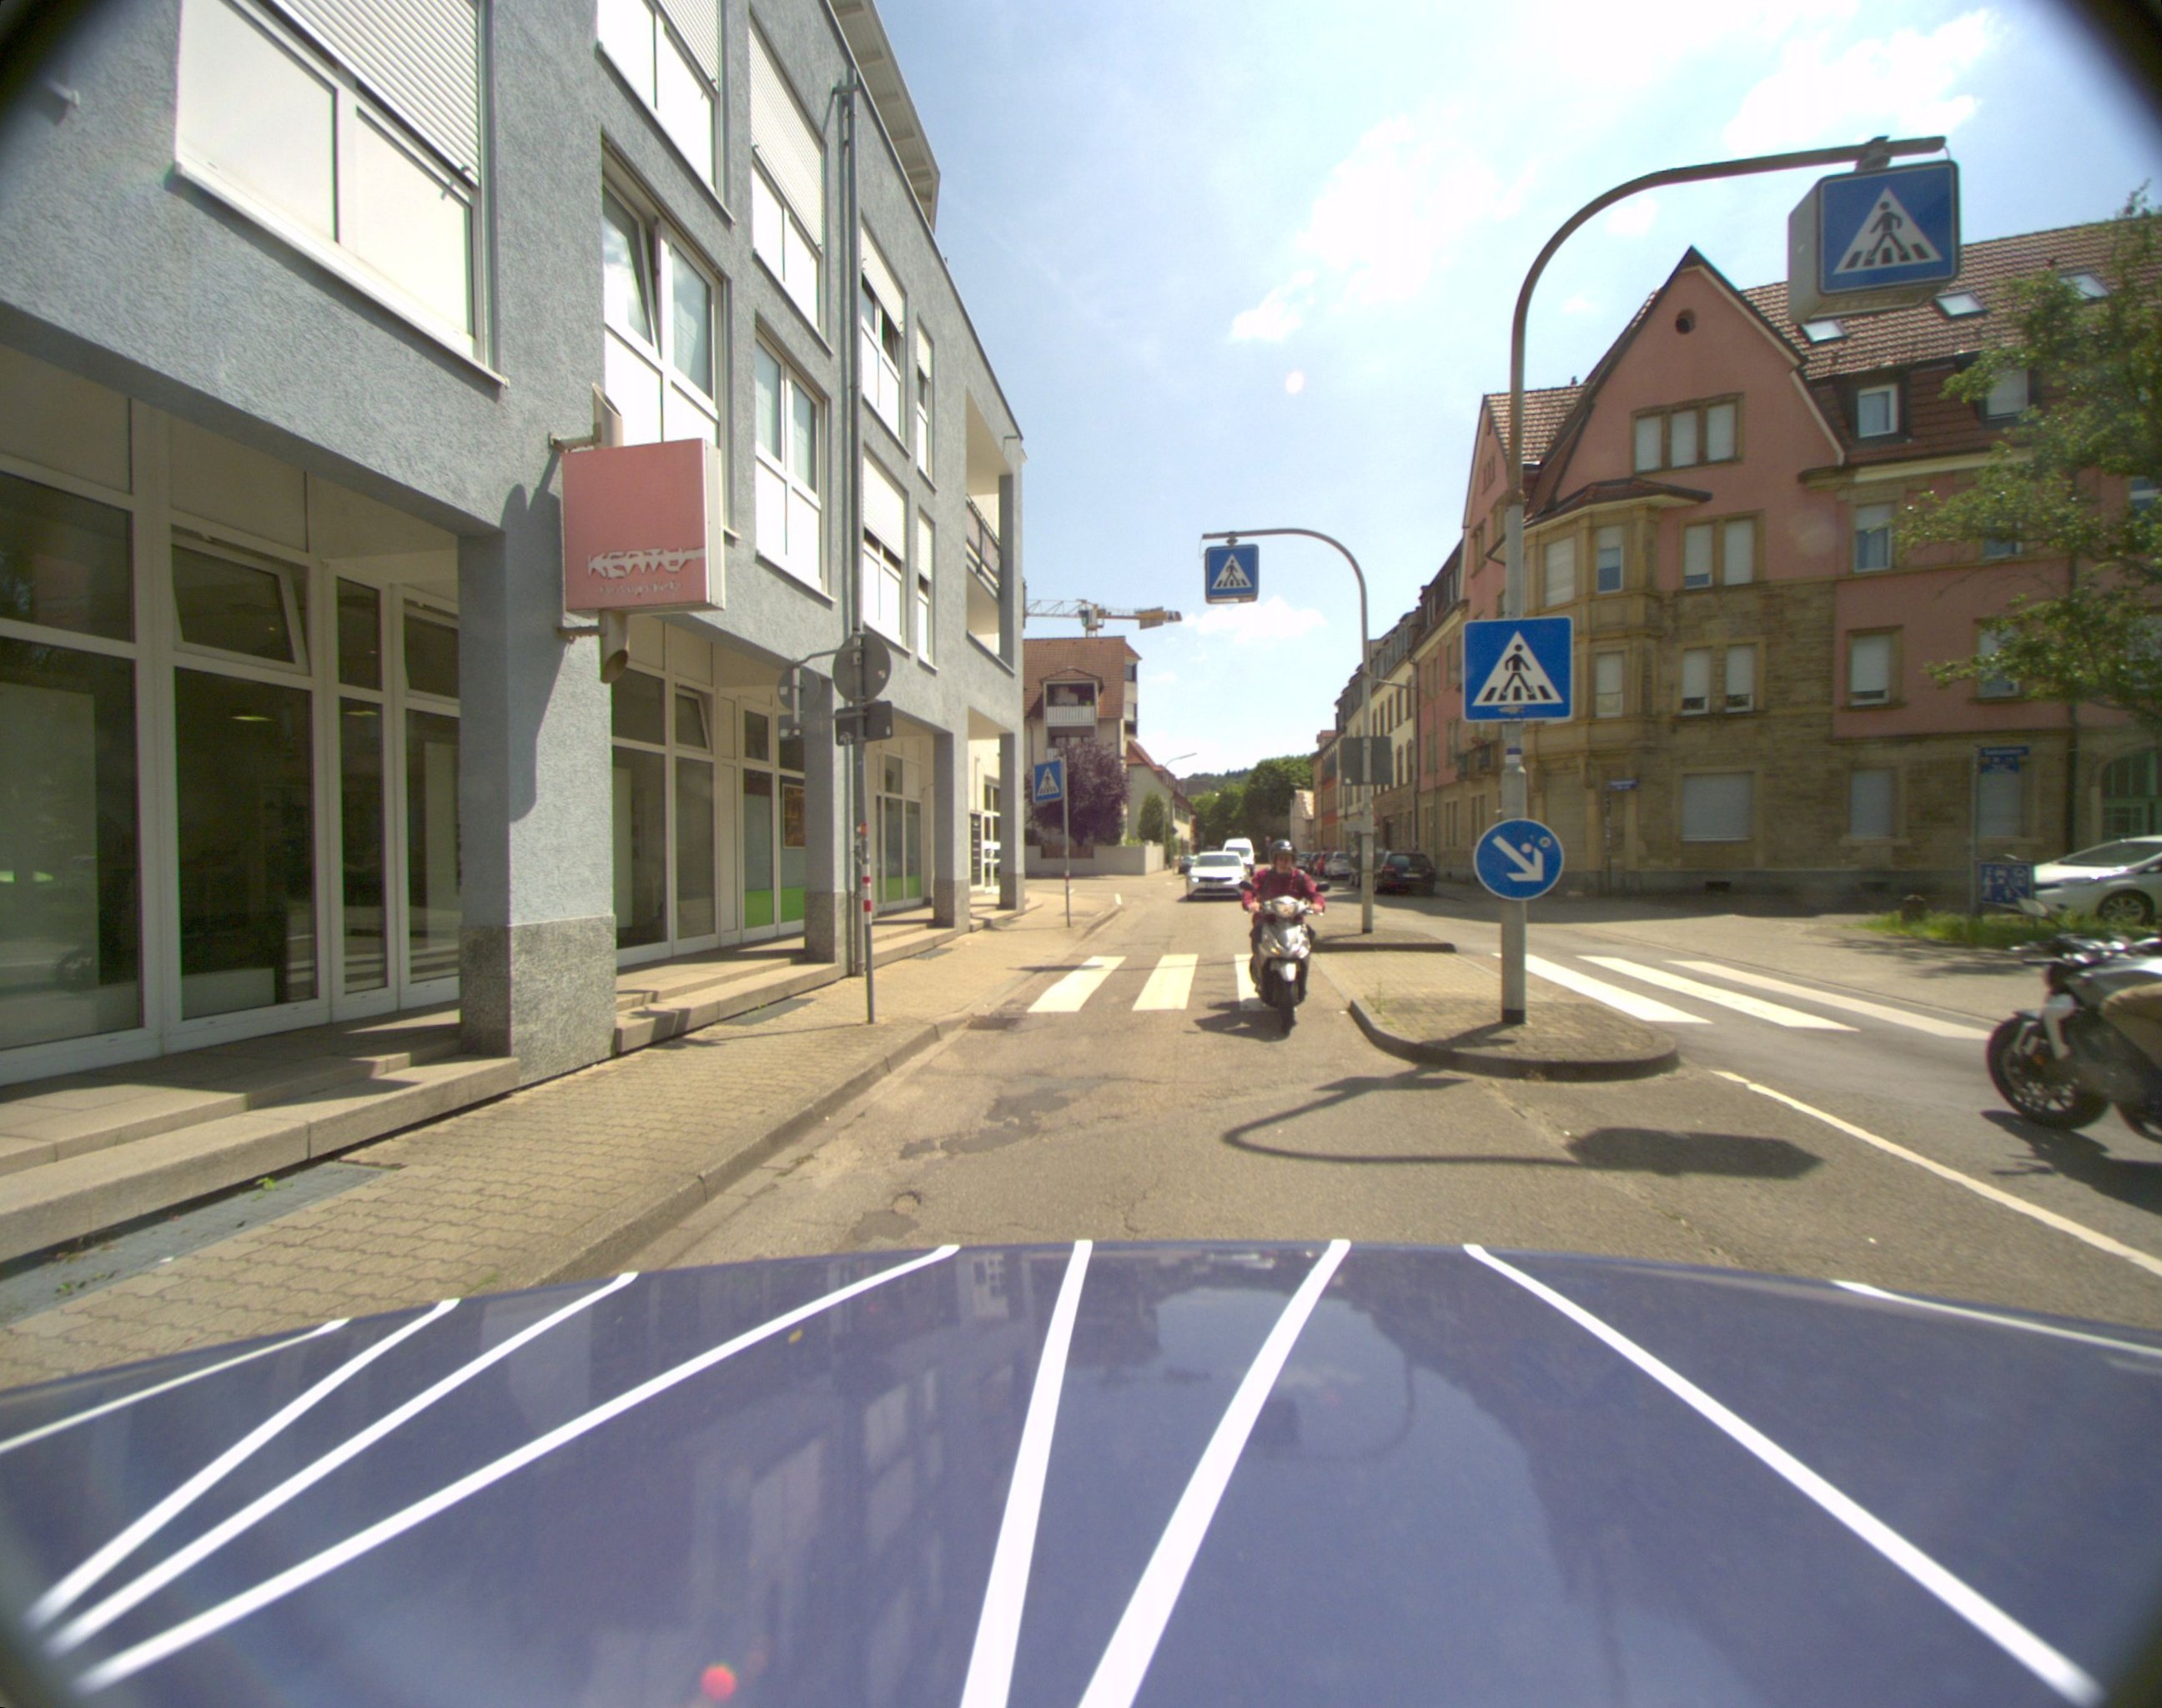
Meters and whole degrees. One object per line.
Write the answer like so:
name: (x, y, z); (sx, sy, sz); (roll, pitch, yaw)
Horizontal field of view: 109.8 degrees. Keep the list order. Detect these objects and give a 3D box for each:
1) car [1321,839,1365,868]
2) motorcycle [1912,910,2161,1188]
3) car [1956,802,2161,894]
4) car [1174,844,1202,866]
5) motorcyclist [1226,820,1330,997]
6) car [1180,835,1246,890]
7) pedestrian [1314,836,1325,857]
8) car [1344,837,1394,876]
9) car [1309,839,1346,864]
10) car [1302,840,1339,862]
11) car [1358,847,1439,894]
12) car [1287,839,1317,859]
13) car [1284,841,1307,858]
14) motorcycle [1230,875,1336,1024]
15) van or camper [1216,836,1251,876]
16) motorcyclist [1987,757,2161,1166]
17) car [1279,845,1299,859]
car: (13.584, -0.055, 39.621); (1.637, 1.423, 4.021); (1, 1, 12)
motorcycle: (4.723, 0.833, 3.066); (0.714, 1.022, 2.241); (0, 1, 14)
car: (18.559, -0.132, 13.220); (3.992, 1.493, 1.871); (-1, 0, 15)
car: (6.935, 0.037, 48.916); (1.659, 1.368, 4.242); (0, 1, 9)
motorcyclist: (1.701, 0.445, 6.697); (0.792, 1.431, 1.021); (-1, 1, 11)
car: (4.116, 0.236, 23.580); (1.810, 1.512, 4.003); (-1, 0, 10)
pedestrian: (20.853, -0.671, 66.504); (0.769, 1.761, 0.764); (-2, 1, 10)
car: (11.557, 0.069, 30.587); (1.439, 1.514, 2.697); (0, 1, 11)
car: (14.654, -0.162, 45.324); (1.601, 1.434, 3.497); (0, 1, 10)
car: (16.022, -0.191, 50.975); (1.875, 1.430, 4.221); (0, 0, 10)
car: (10.941, 0.489, 26.466); (1.785, 1.450, 4.638); (0, 1, 12)
car: (17.514, -0.373, 60.414); (1.881, 1.502, 4.385); (0, 0, 11)
car: (19.396, -0.422, 68.848); (1.713, 1.451, 3.856); (1, 1, 11)
motorcycle: (1.720, 0.753, 6.743); (0.759, 1.049, 1.993); (-1, 0, 11)
van or camper: (9.284, 0.108, 46.592); (1.997, 2.274, 5.148); (0, 0, 10)
motorcyclist: (4.695, 0.427, 3.132); (0.714, 1.625, 1.070); (0, 1, 14)
car: (22.087, -0.239, 80.909); (1.731, 1.434, 3.860); (0, 0, 10)
